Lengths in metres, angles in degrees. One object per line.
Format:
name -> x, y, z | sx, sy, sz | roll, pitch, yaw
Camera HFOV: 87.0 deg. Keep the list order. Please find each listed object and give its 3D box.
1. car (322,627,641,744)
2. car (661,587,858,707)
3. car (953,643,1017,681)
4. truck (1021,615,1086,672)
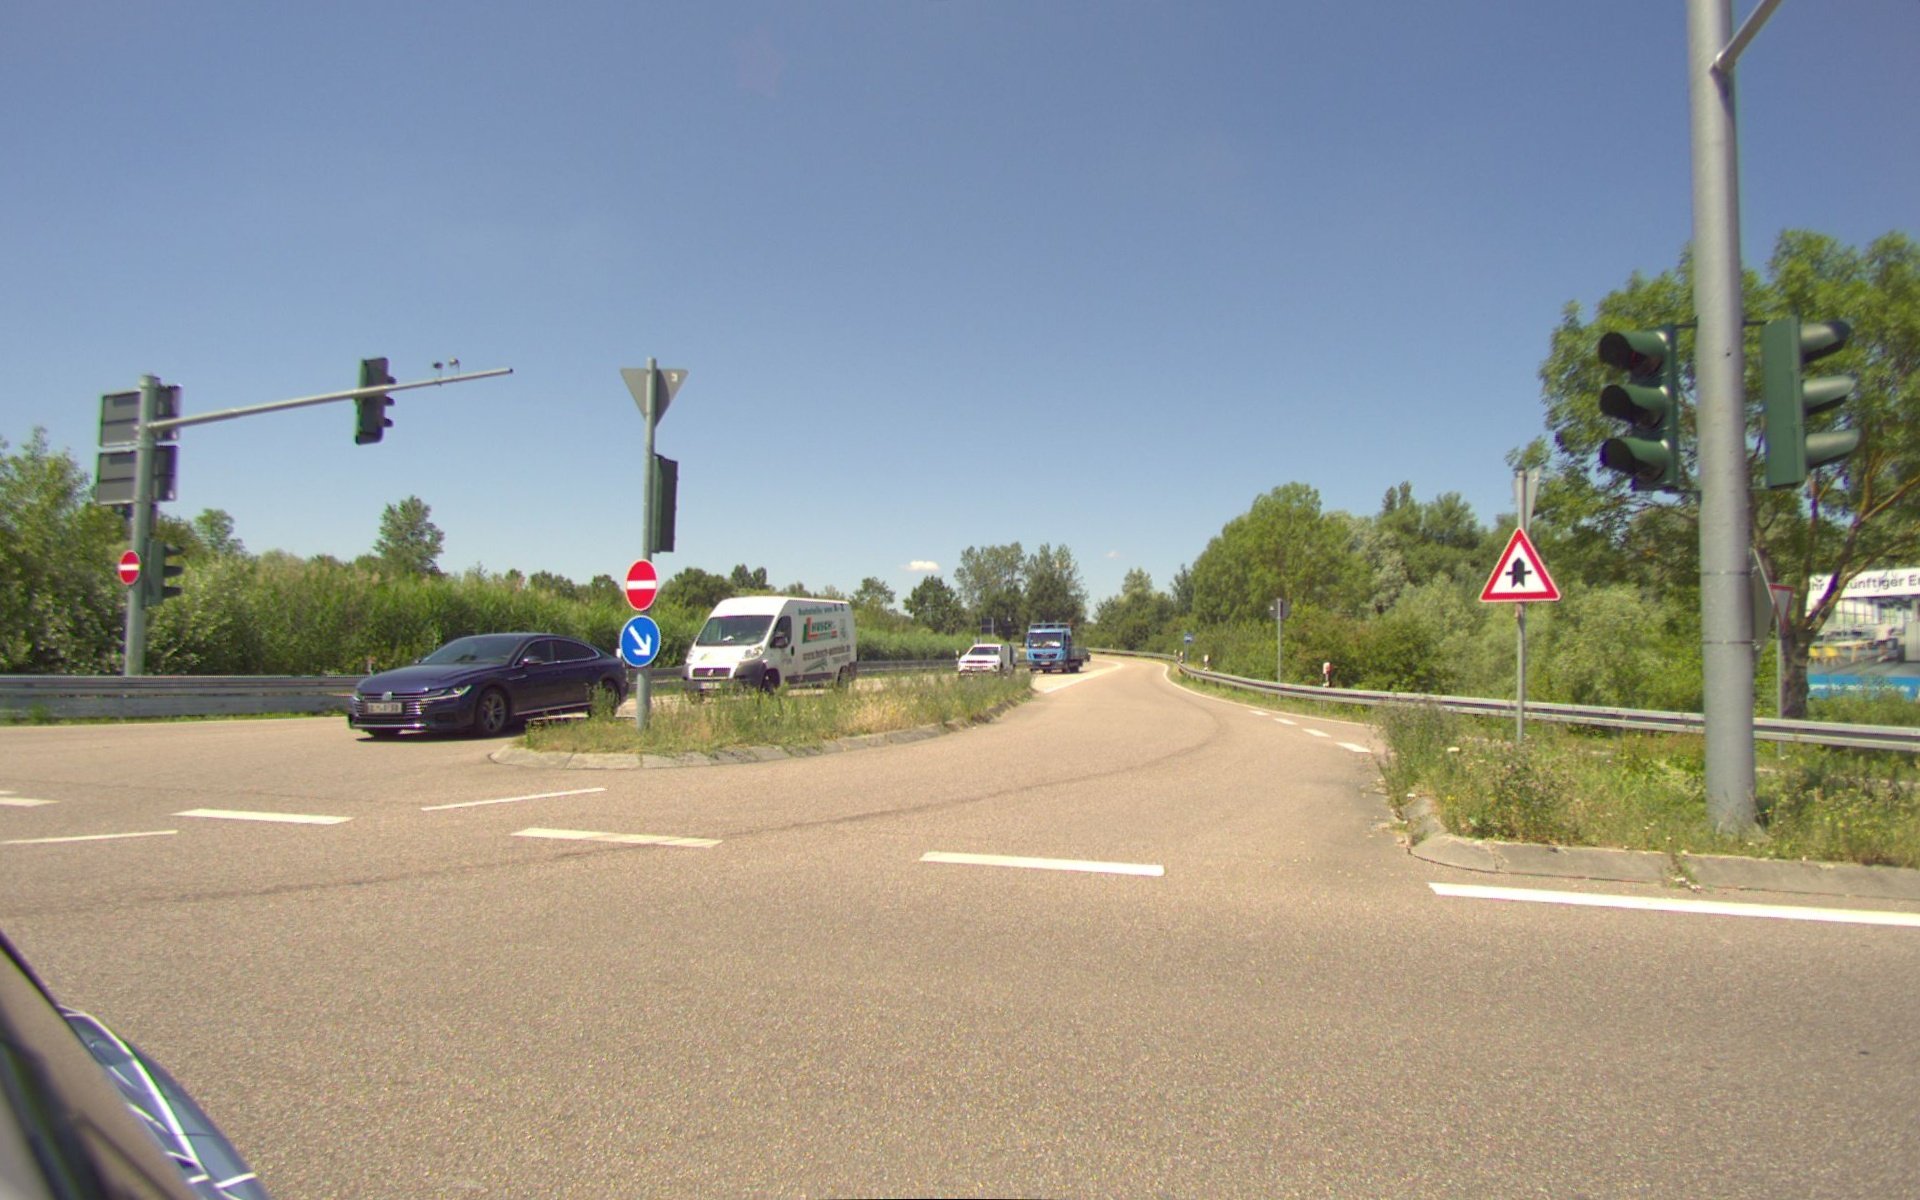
car -> -6.717, 1.190, 14.887 | 1.830, 1.434, 4.543 | -1, -3, 13
car -> -4.580, 1.190, 24.429 | 2.210, 2.514, 5.950 | -1, -4, 16
car -> 1.071, 2.526, 41.448 | 1.706, 1.446, 3.938 | 0, -3, 16
truck -> 5.882, 2.731, 62.199 | 2.669, 3.220, 9.134 | 0, -3, 14
